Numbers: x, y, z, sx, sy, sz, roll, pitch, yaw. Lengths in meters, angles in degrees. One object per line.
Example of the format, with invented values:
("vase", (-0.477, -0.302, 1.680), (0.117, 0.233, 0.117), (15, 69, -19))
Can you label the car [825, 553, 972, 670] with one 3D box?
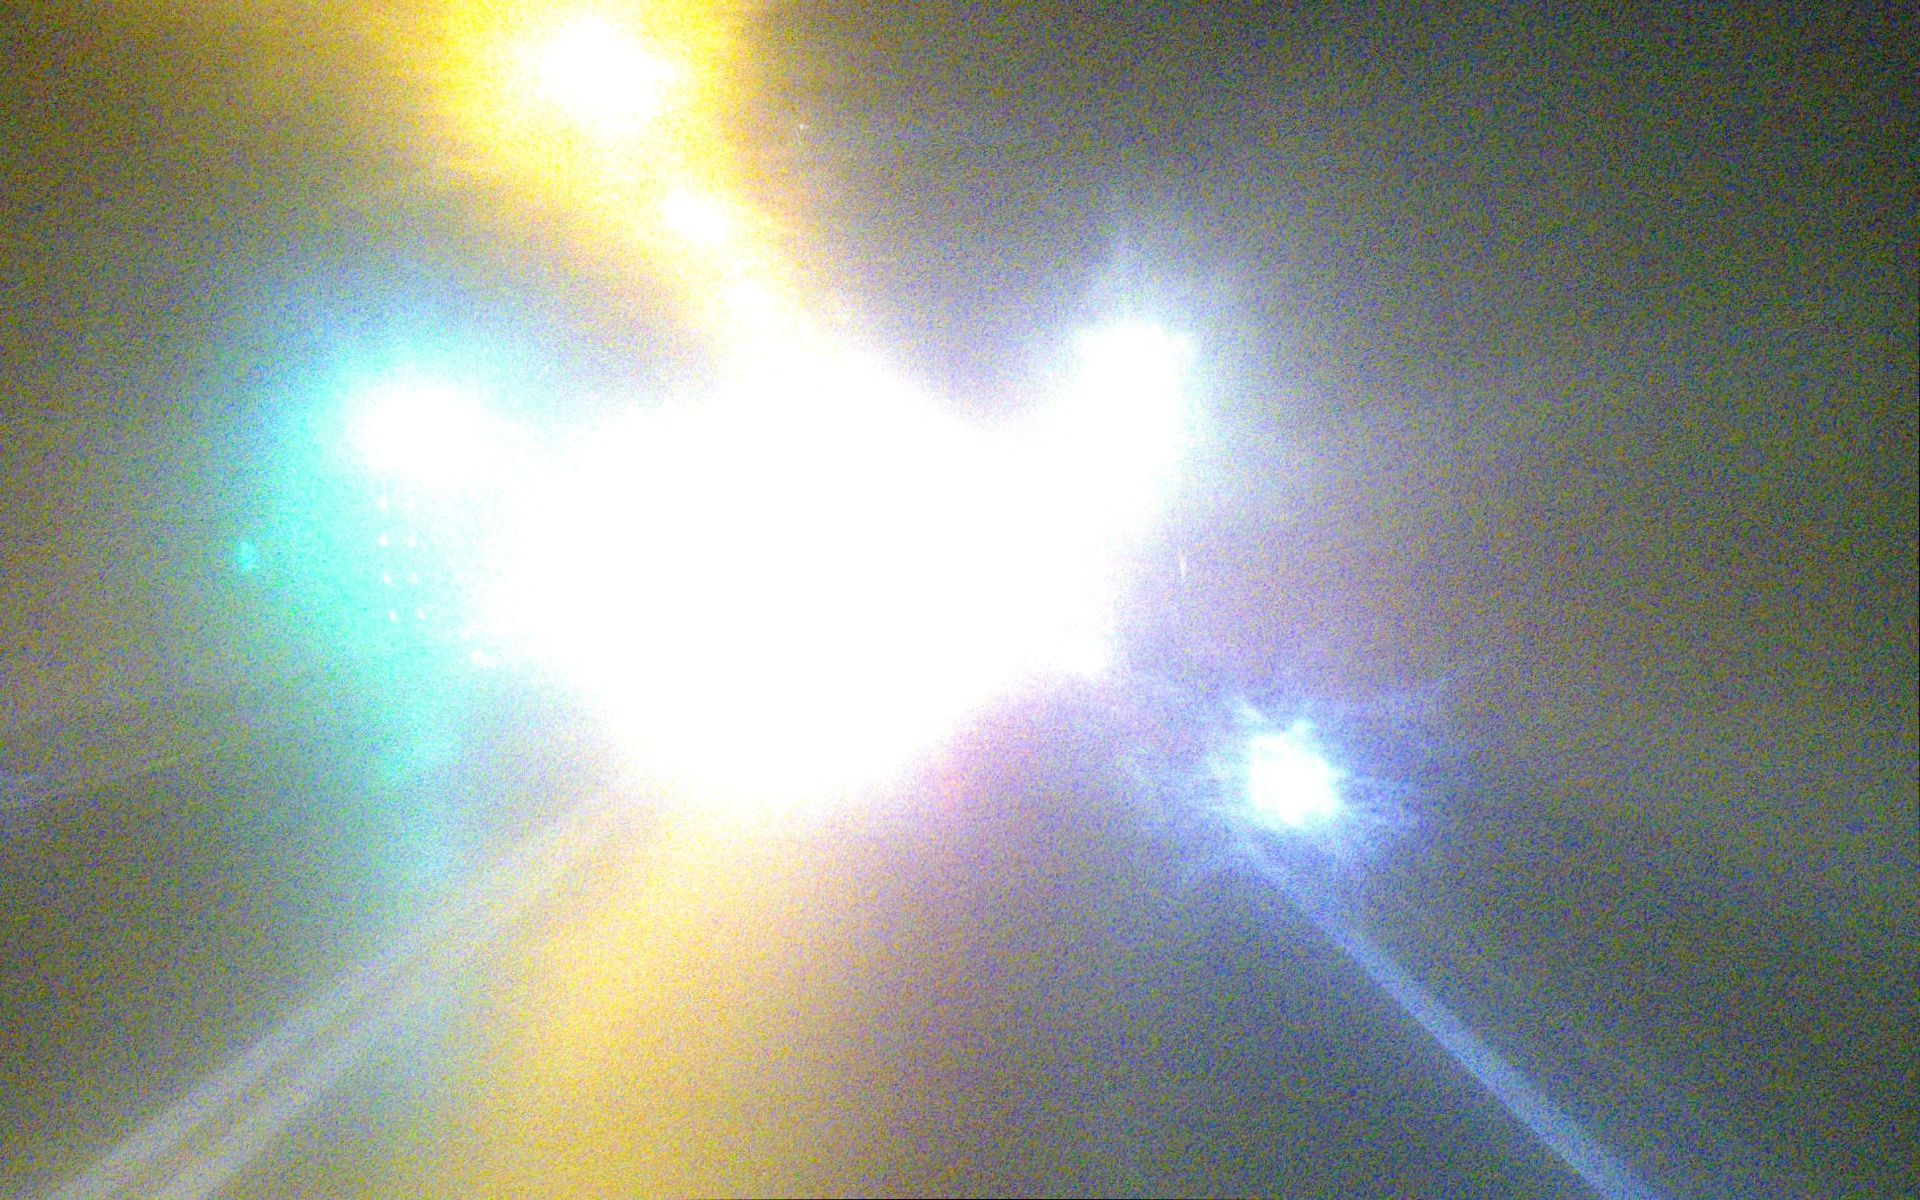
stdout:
("car", (-0.928, 0.149, 51.556), (2.089, 1.656, 4.000), (-1, 1, -1))

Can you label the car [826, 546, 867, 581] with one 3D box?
("car", (-4.962, -1.611, 151.053), (1.710, 1.457, 3.575), (-1, 1, -1))

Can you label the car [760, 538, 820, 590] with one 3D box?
("car", (-5.048, -1.088, 102.422), (1.690, 1.500, 3.745), (-1, 1, -2))
